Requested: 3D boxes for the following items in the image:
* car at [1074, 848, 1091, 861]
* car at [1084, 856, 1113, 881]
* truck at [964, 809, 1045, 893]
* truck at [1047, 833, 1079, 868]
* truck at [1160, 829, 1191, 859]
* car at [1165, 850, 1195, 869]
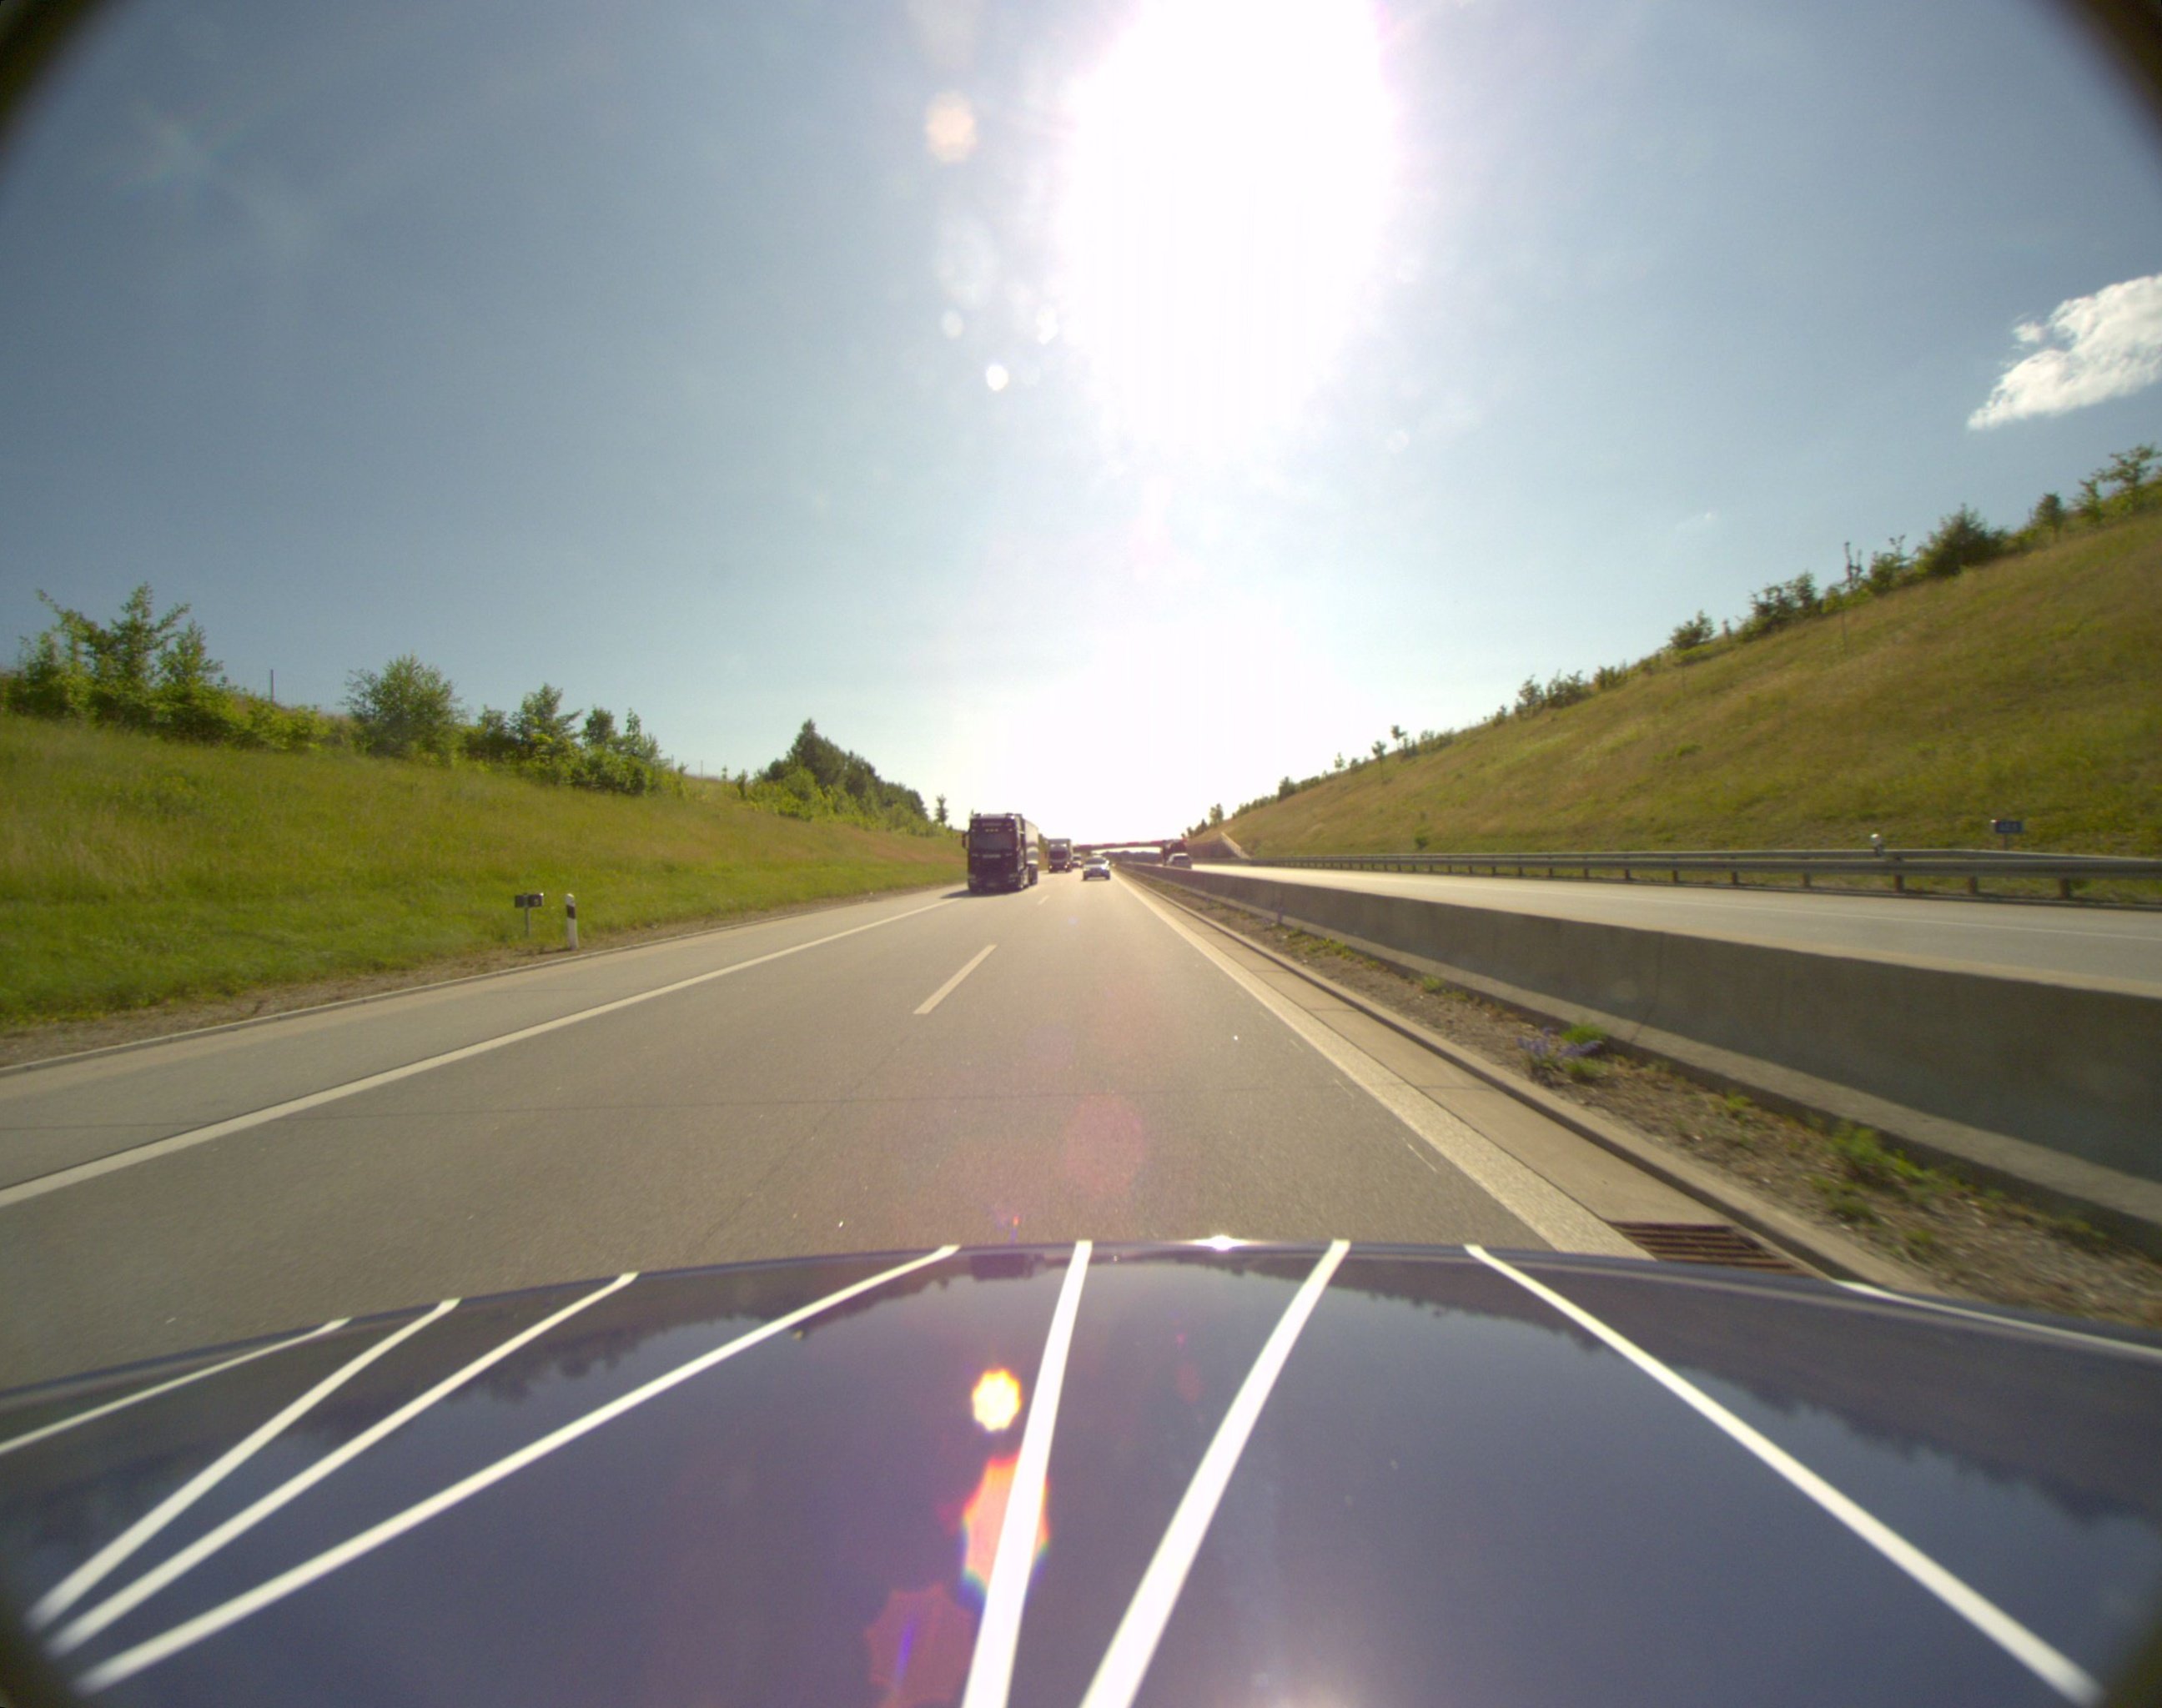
[{"bbox_3d":[0.292,0.109,130.342,2.816,2.143,5.946,-2,0,0],"label":"car"},{"bbox_3d":[1.255,0.989,52.157,1.795,1.501,3.636,-4,0,3],"label":"car"},{"bbox_3d":[-3.851,-0.181,41.880,2.623,3.795,13.404,-2,0,2],"label":"truck"},{"bbox_3d":[-2.044,-0.404,91.939,3.024,3.795,13.404,-2,0,2],"label":"truck"},{"bbox_3d":[13.211,-1.307,107.109,2.763,3.918,12.447,-2,0,0],"label":"truck"},{"bbox_3d":[8.412,0.430,64.937,1.858,1.453,4.727,-2,0,0],"label":"car"}]
